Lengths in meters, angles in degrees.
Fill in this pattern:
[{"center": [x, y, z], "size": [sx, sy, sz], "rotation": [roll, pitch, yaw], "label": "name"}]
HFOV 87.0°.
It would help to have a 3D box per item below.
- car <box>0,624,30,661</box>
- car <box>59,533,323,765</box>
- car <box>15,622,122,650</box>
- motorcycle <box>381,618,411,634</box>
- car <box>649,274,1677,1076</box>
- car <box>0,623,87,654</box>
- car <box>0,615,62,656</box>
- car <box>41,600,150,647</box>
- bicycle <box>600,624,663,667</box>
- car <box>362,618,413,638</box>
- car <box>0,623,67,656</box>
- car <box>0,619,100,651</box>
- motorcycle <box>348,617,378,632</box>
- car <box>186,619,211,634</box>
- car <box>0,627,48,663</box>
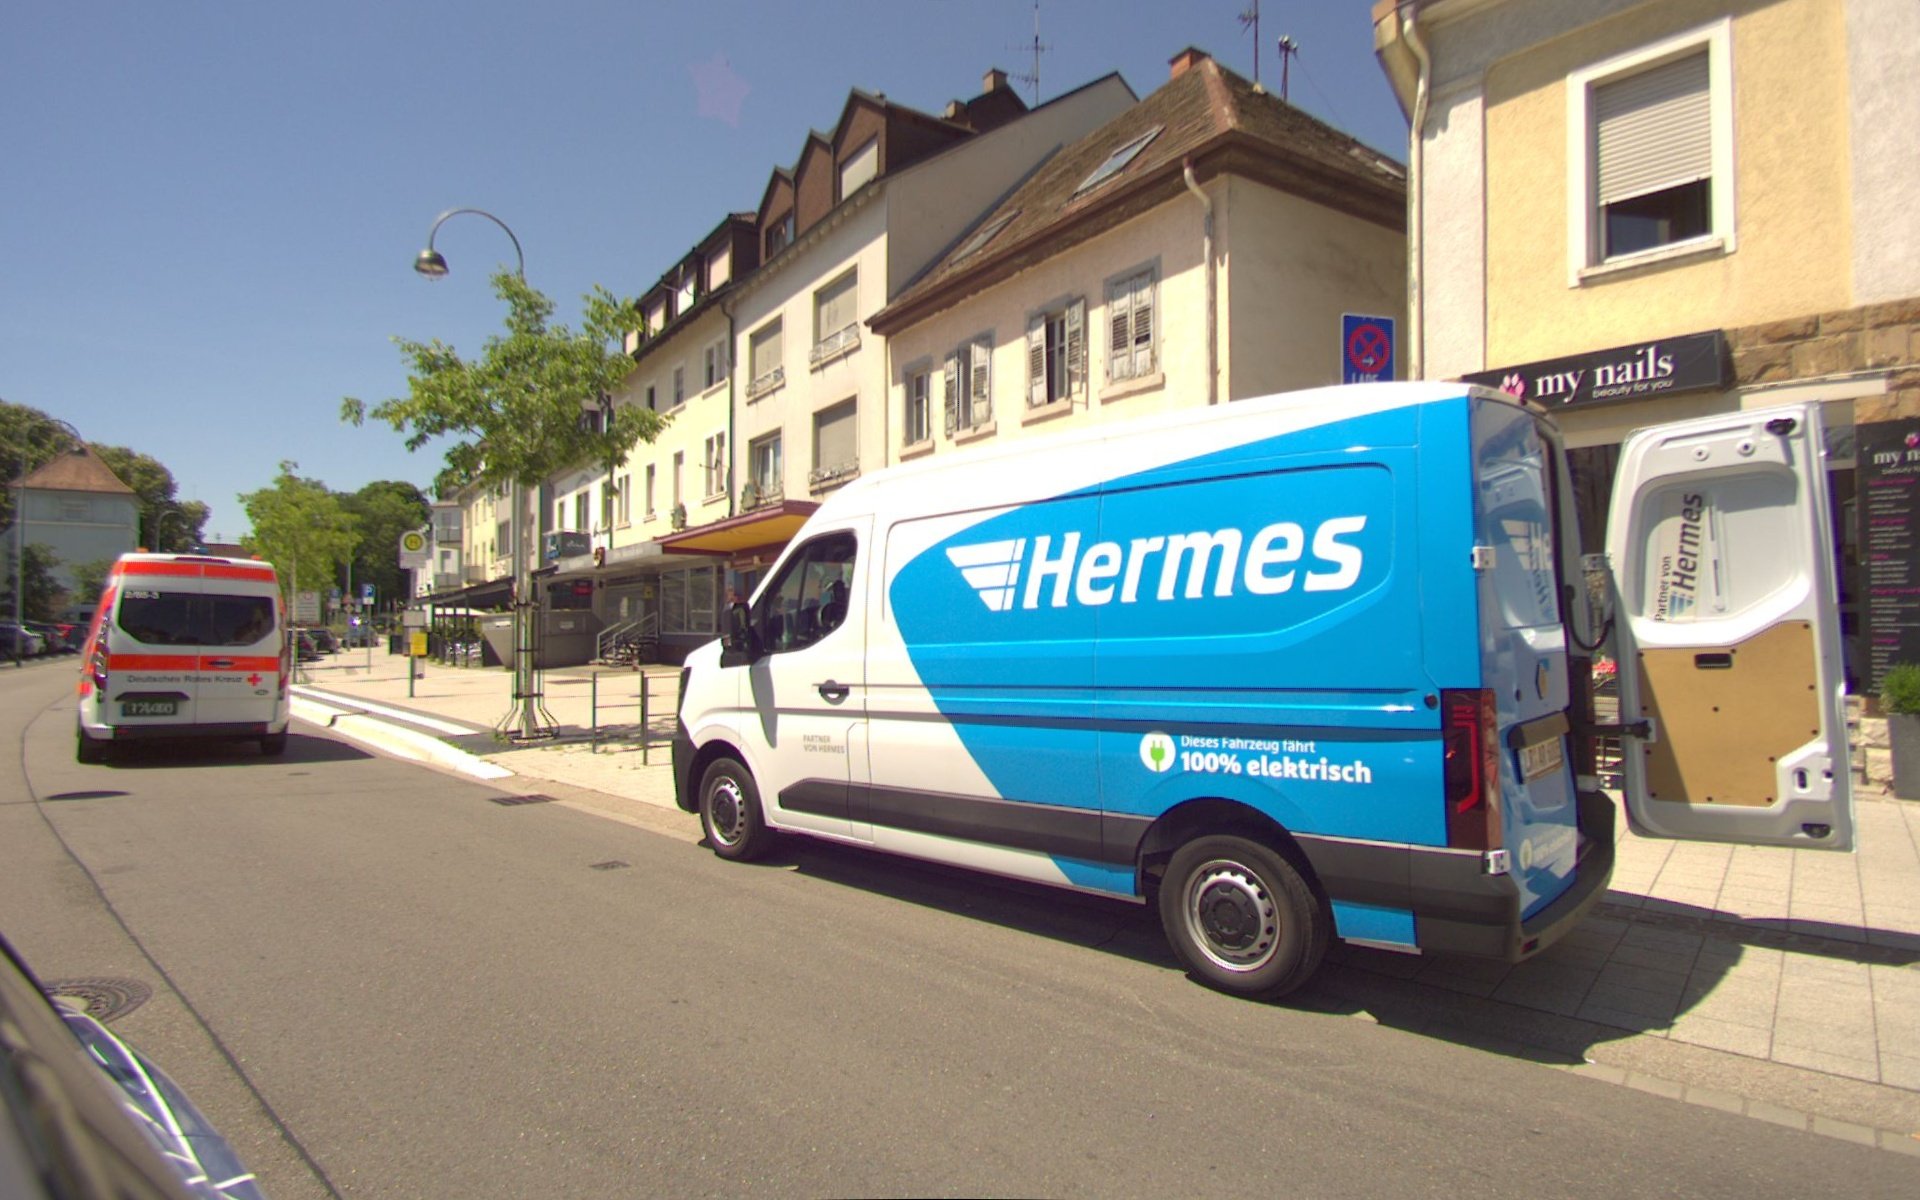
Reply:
[{"center": [-40.340, 1.654, 41.008], "size": [3.606, 1.456, 1.540], "rotation": [4, -3, -31], "label": "car"}, {"center": [-10.066, 0.604, 13.052], "size": [2.130, 2.380, 5.253], "rotation": [3, -4, -43], "label": "car"}, {"center": [-51.045, 2.074, 58.041], "size": [4.310, 1.541, 1.724], "rotation": [2, -3, -32], "label": "car"}, {"center": [-50.054, 2.294, 89.819], "size": [2.285, 1.335, 0.728], "rotation": [2, -2, -30], "label": "motorcycle"}, {"center": [0.601, 0.269, 5.817], "size": [5.503, 2.517, 2.069], "rotation": [-1, -1, 43], "label": "car"}, {"center": [-45.512, 1.871, 49.691], "size": [3.756, 1.473, 1.656], "rotation": [2, -2, -34], "label": "car"}, {"center": [-42.921, 1.586, 45.314], "size": [3.757, 1.800, 1.845], "rotation": [2, -2, -34], "label": "car"}, {"center": [-53.177, 1.493, 62.396], "size": [4.788, 2.757, 1.856], "rotation": [2, -2, -32], "label": "car"}, {"center": [-10.277, 1.416, 31.660], "size": [1.741, 1.243, 0.618], "rotation": [-2, 0, -33], "label": "bicycle"}, {"center": [-53.099, 2.622, 93.992], "size": [4.012, 1.752, 1.820], "rotation": [2, -2, -28], "label": "car"}, {"center": [-44.252, 1.810, 47.246], "size": [3.559, 1.473, 1.621], "rotation": [3, -3, -34], "label": "car"}, {"center": [-48.263, 1.870, 53.335], "size": [4.289, 1.563, 1.656], "rotation": [3, -3, -35], "label": "car"}, {"center": [-53.769, 2.219, 91.141], "size": [2.285, 1.335, 0.728], "rotation": [2, -2, -30], "label": "motorcycle"}, {"center": [-77.092, 2.687, 102.429], "size": [1.660, 1.495, 4.091], "rotation": [3, -3, -41], "label": "car"}, {"center": [-41.248, 1.889, 42.784], "size": [3.757, 1.494, 1.783], "rotation": [2, -2, -34], "label": "car"}]
